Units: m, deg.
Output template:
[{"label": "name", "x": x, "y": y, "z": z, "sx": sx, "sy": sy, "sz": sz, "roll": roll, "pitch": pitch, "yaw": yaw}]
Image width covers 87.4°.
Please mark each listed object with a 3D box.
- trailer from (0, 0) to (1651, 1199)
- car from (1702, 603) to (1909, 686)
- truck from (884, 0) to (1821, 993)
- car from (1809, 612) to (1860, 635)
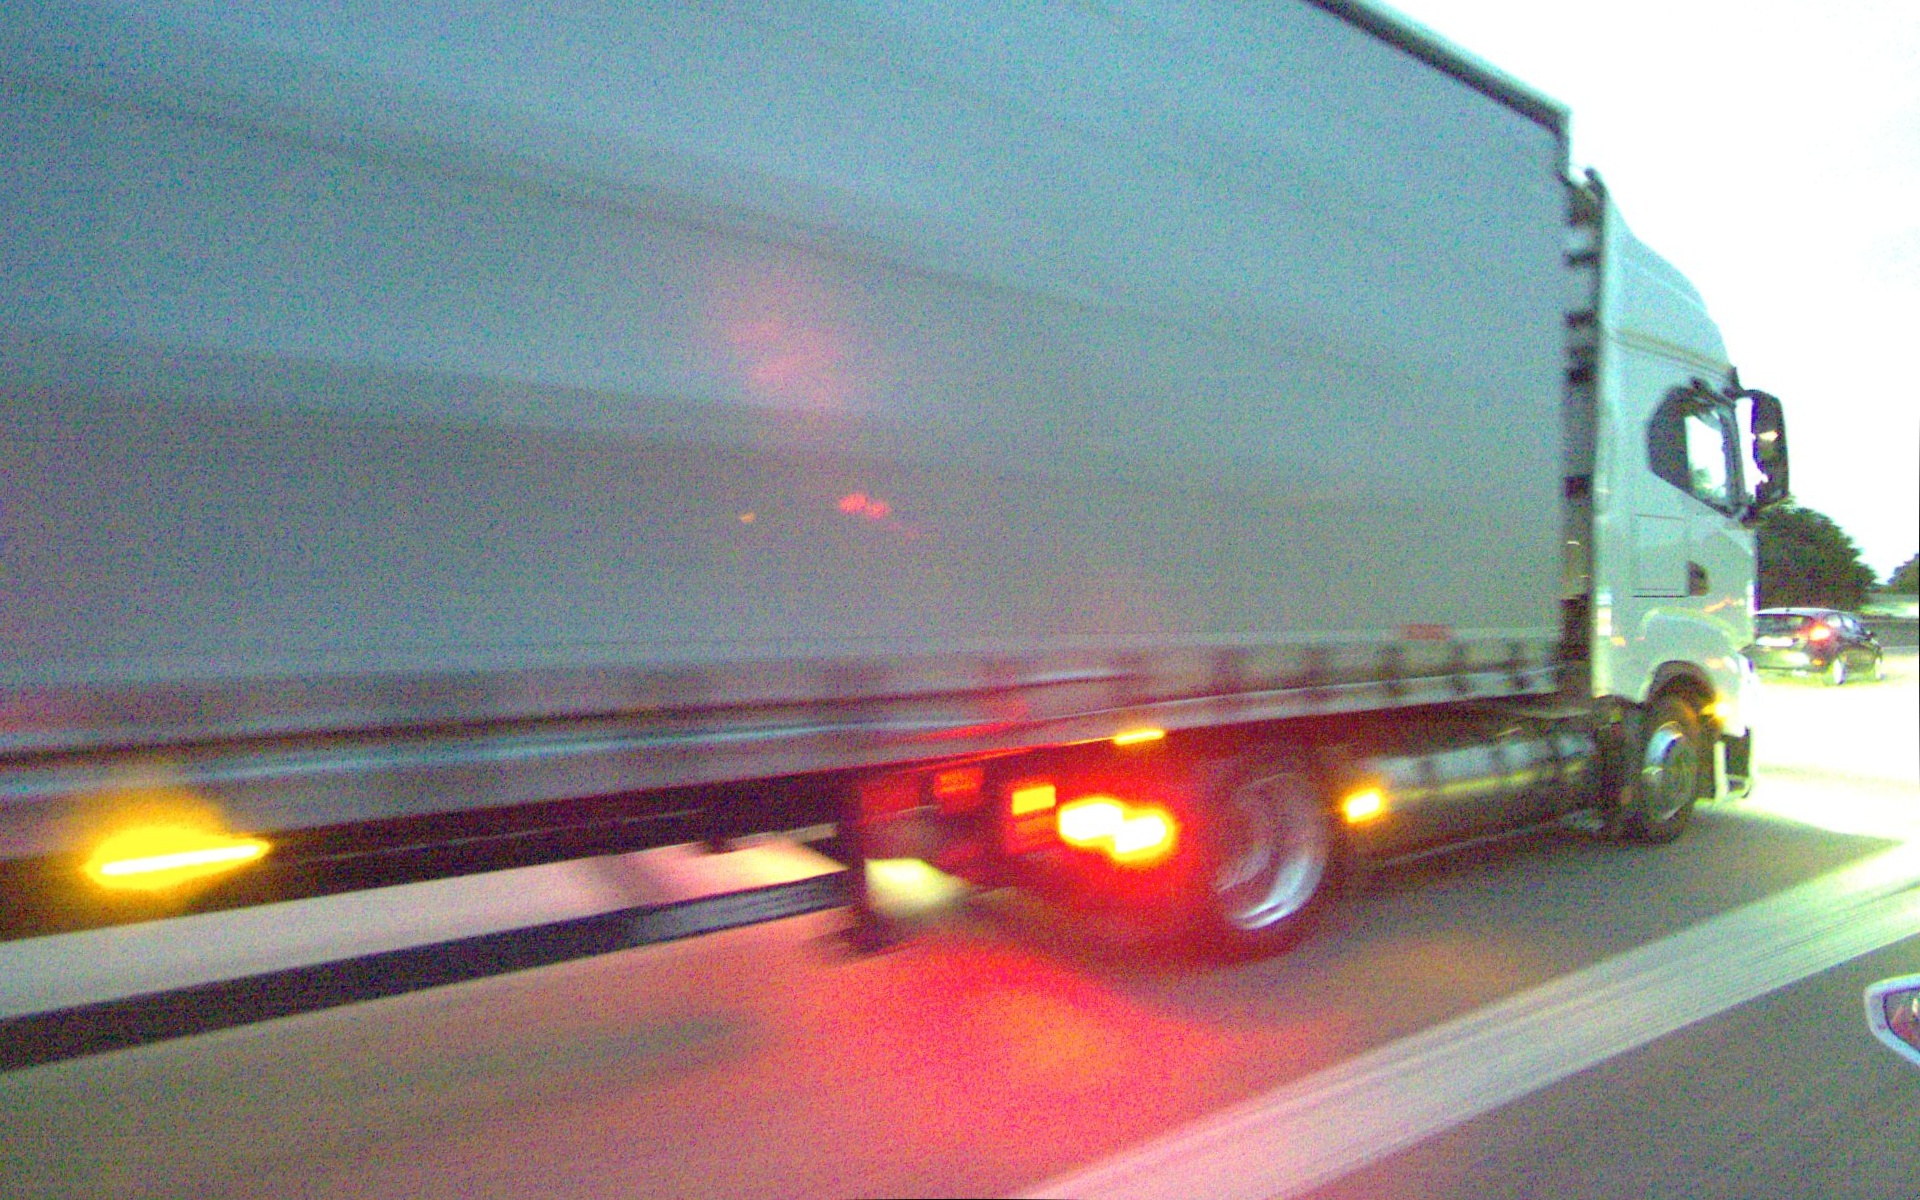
[{"label": "trailer", "x": -3.037, "y": -0.556, "z": 2.661, "sx": 14.661, "sy": 3.967, "sz": 2.757, "roll": 1, "pitch": 0, "yaw": -34}, {"label": "car", "x": 17.411, "y": 0.853, "z": 20.652, "sx": 4.498, "sy": 1.518, "sz": 1.982, "roll": 1, "pitch": 0, "yaw": -32}, {"label": "truck", "x": 2.830, "y": -0.495, "z": 6.590, "sx": 6.090, "sy": 3.954, "sz": 2.762, "roll": 1, "pitch": 0, "yaw": -34}, {"label": "car", "x": 66.793, "y": 1.765, "z": 76.710, "sx": 3.961, "sy": 1.532, "sz": 1.980, "roll": 0, "pitch": 4, "yaw": -36}]
